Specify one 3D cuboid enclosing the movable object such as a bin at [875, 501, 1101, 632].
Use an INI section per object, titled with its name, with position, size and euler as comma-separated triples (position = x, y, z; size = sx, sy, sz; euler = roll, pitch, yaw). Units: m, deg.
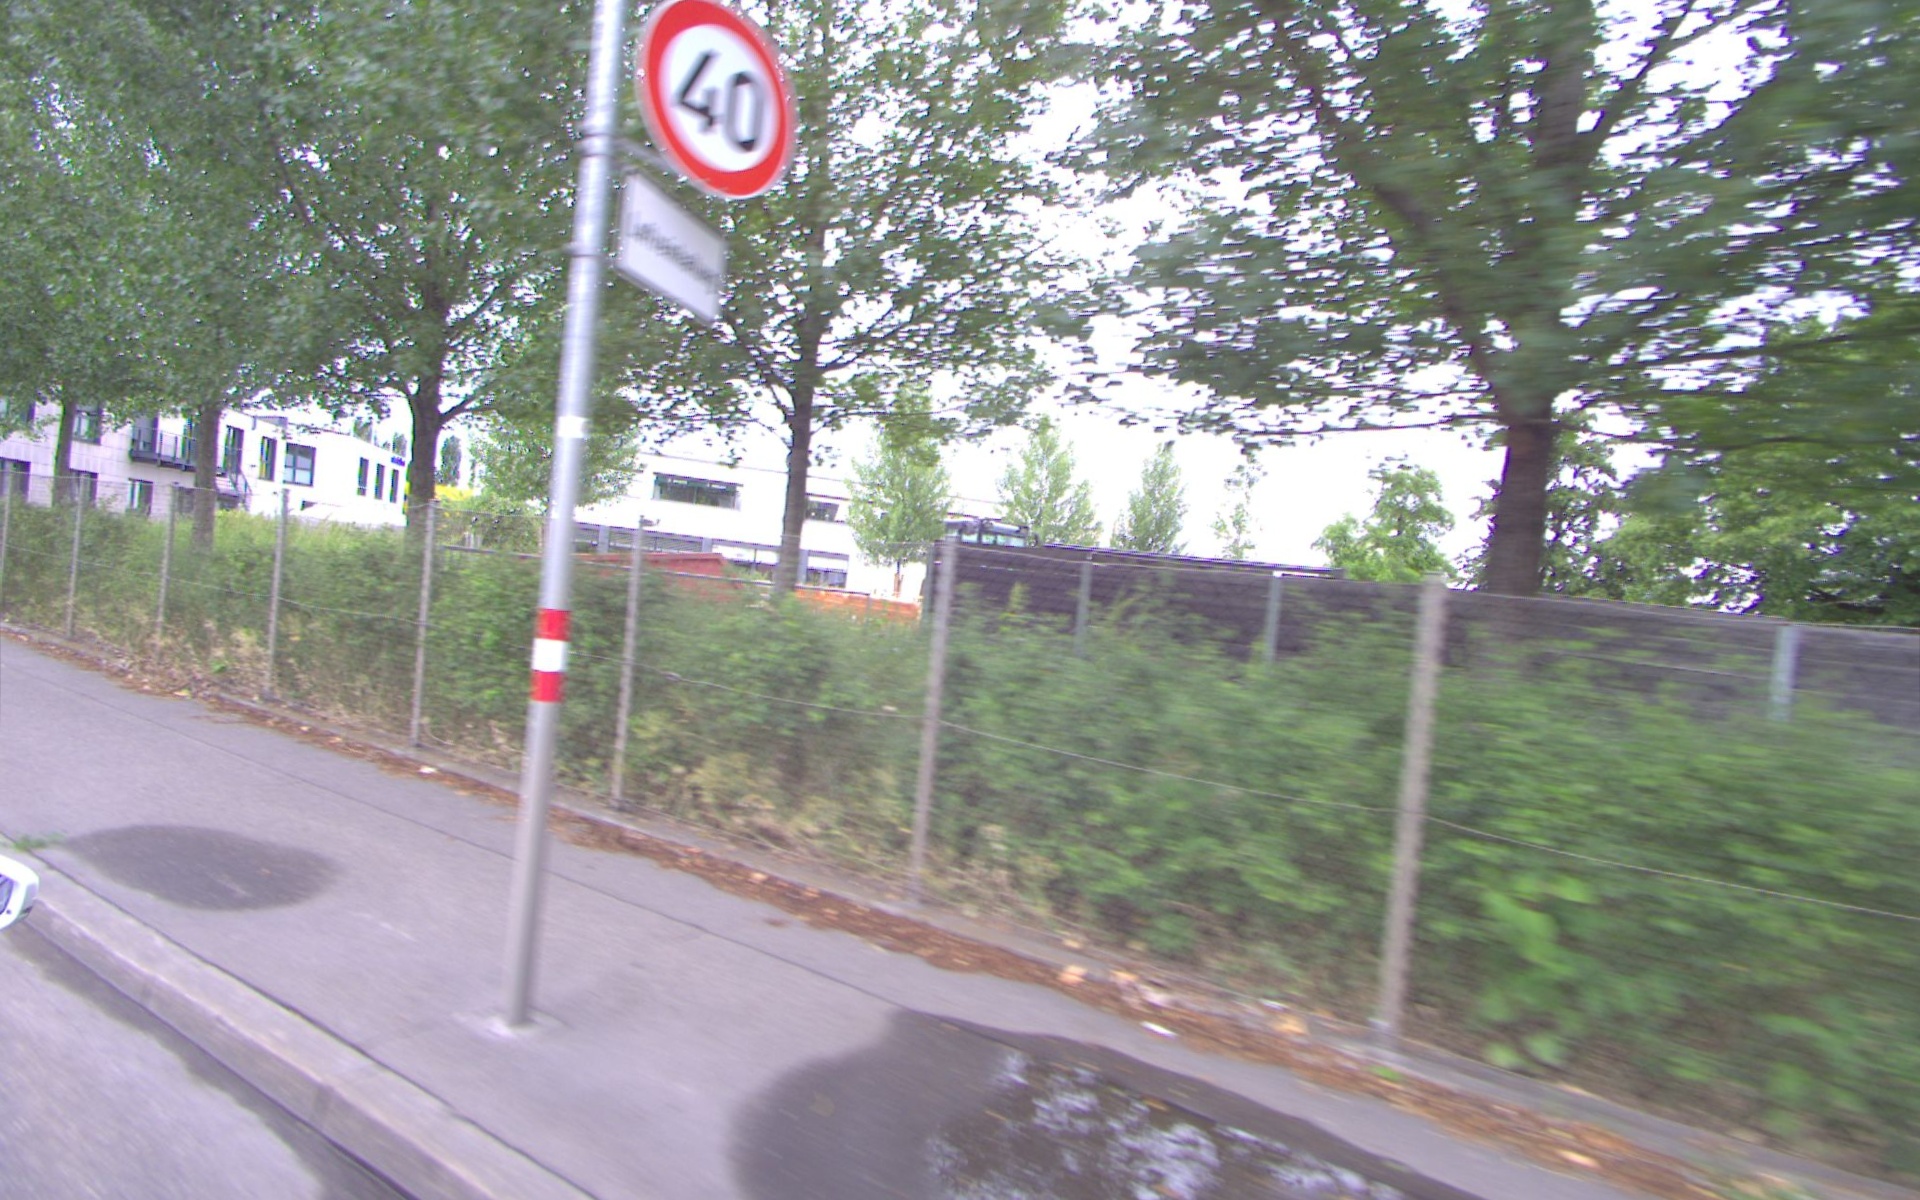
[movable object such as a bin]
position = 0.386, -0.529, 18.532
size = 1.979, 2.038, 4.259
euler = 4, -2, -34
